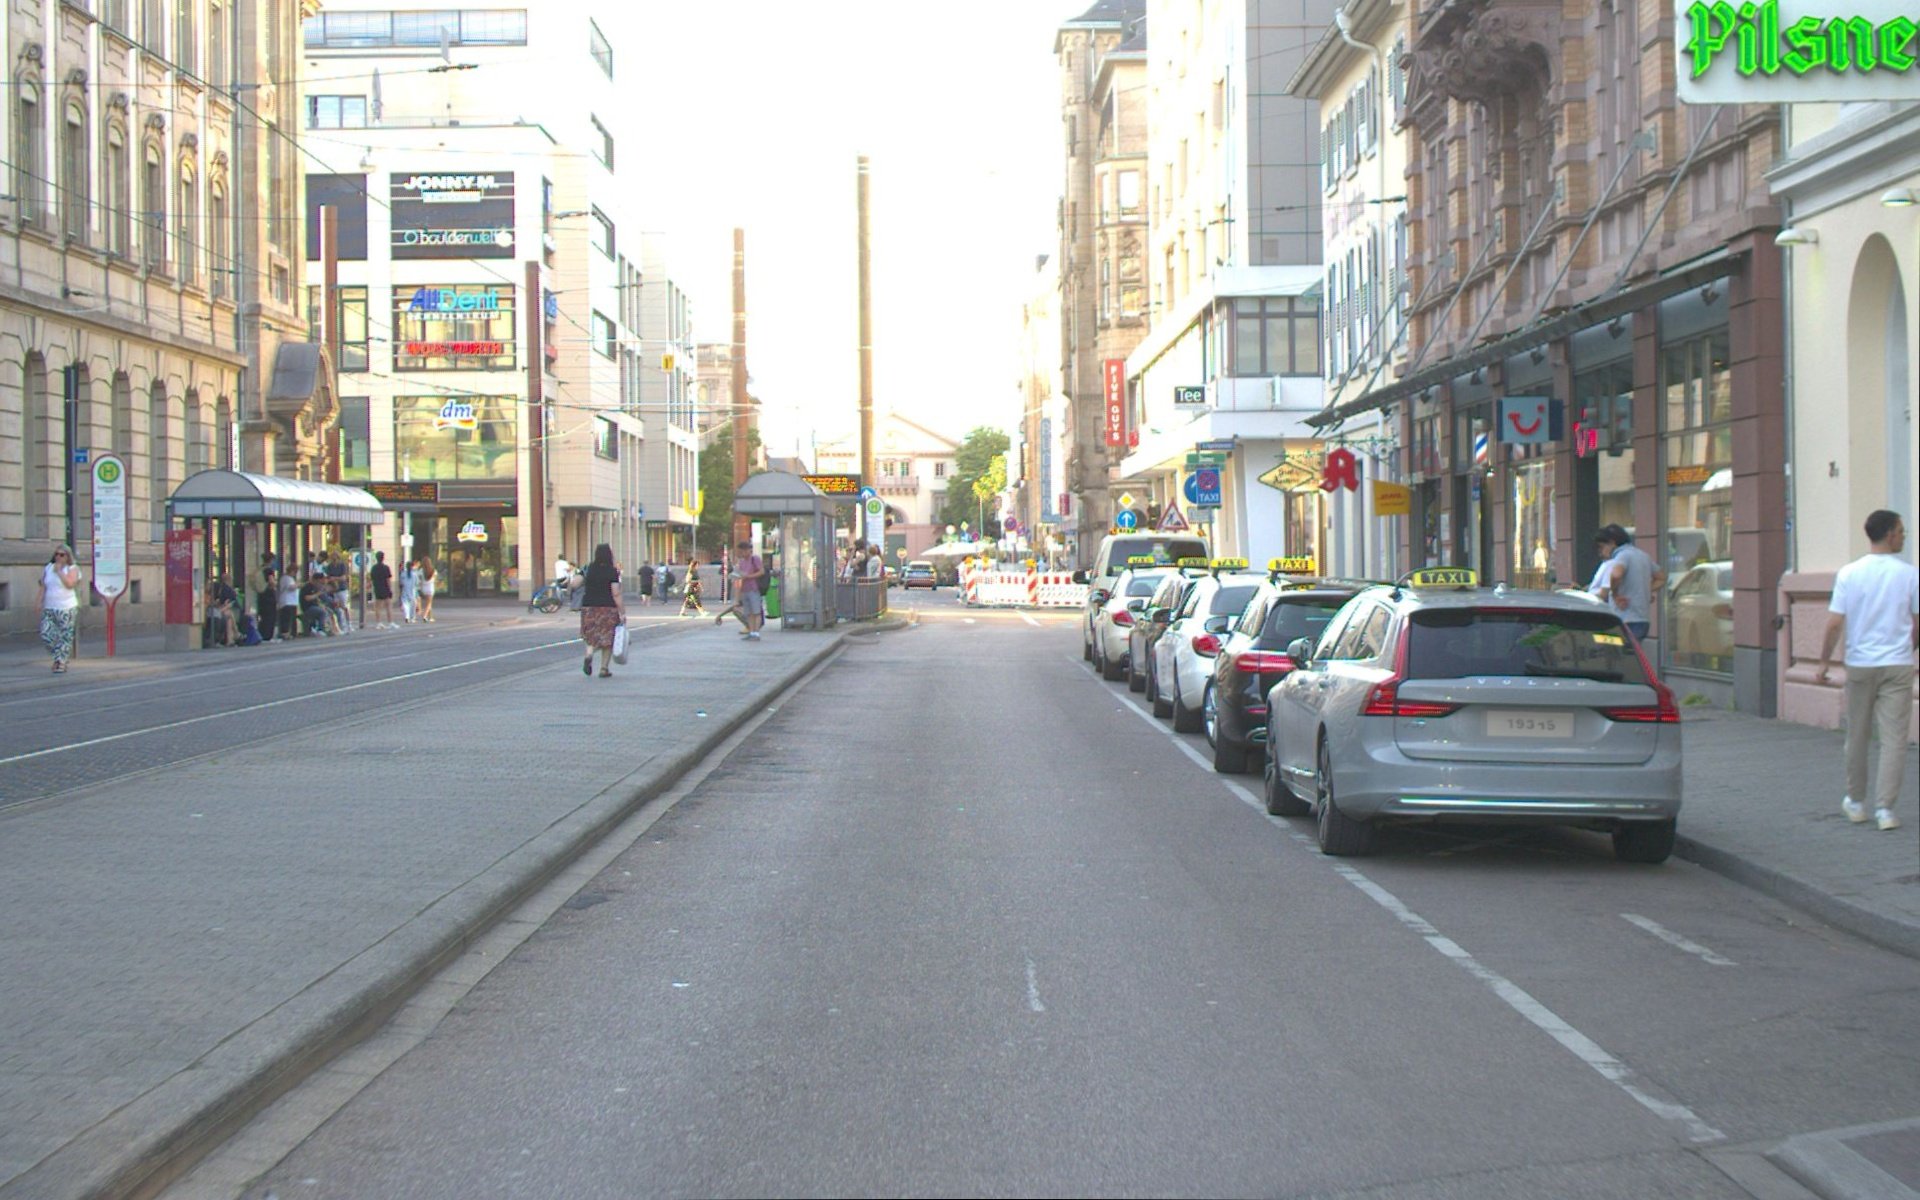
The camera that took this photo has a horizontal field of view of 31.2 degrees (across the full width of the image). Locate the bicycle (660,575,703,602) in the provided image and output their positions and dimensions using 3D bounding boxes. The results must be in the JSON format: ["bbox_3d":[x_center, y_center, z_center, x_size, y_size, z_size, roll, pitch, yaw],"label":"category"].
[{"bbox_3d":[-11.404,-0.472,140.908,1.696,1.118,0.451,1,0,2],"label":"bicycle"}]

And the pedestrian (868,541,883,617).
[{"bbox_3d":[-1.982,-0.493,80.605,0.341,1.789,0.544,1,0,-2],"label":"pedestrian"}]

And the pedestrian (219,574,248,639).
[{"bbox_3d":[-12.404,0.108,58.725,0.364,1.099,0.429,1,0,6],"label":"pedestrian"}]

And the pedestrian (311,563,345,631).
[{"bbox_3d":[-12.442,-0.052,67.657,0.518,1.323,0.638,0,0,3],"label":"pedestrian"}]

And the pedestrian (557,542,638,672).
[{"bbox_3d":[-4.191,0.075,39.831,0.846,1.496,0.901,0,0,-1],"label":"pedestrian"}]

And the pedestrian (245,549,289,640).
[{"bbox_3d":[-12.632,-0.099,62.642,0.518,1.645,0.637,0,0,22],"label":"pedestrian"}]

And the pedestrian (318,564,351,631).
[{"bbox_3d":[-12.449,-0.054,68.425,0.518,1.323,0.638,0,0,3],"label":"pedestrian"}]

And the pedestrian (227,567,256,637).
[{"bbox_3d":[-12.453,0.036,59.571,0.364,1.196,0.429,1,0,6],"label":"pedestrian"}]

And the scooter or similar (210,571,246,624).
[{"bbox_3d":[-16.468,-0.055,77.361,0.487,1.178,1.293,1,0,2],"label":"scooter or similar"}]

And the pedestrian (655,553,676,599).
[{"bbox_3d":[-11.139,-0.909,130.093,0.782,1.745,0.600,1,0,-3],"label":"pedestrian"}]

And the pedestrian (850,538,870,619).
[{"bbox_3d":[-2.179,-0.467,74.773,0.412,1.761,0.594,1,0,-2],"label":"pedestrian"}]

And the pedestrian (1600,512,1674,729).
[{"bbox_3d":[5.613,0.165,28.513,0.372,1.762,0.663,-2,0,-4],"label":"pedestrian"}]

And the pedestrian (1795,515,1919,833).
[{"bbox_3d":[5.021,0.400,18.866,0.620,1.683,0.485,-5,1,29],"label":"pedestrian"}]

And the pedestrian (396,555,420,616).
[{"bbox_3d":[-13.751,-0.365,85.690,0.518,1.520,0.501,0,0,-17],"label":"pedestrian"}]

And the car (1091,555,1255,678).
[{"bbox_3d":[2.798,0.179,46.095,1.806,1.478,4.778,2,1,-1],"label":"car"}]

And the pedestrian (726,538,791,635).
[{"bbox_3d":[-3.410,-0.227,58.236,0.687,1.632,0.859,0,1,40],"label":"pedestrian"}]

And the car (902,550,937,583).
[{"bbox_3d":[-2.361,-1.940,200.403,1.993,1.897,4.000,1,0,-1],"label":"car"}]

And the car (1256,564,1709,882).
[{"bbox_3d":[2.840,0.597,19.697,1.806,1.470,4.694,1,2,-1],"label":"car"}]

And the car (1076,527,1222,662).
[{"bbox_3d":[2.863,-0.089,52.851,1.876,1.917,4.700,2,0,-1],"label":"car"}]

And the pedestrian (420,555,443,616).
[{"bbox_3d":[-13.213,-0.375,85.885,0.525,1.520,0.503,0,0,-14],"label":"pedestrian"}]

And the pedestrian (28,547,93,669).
[{"bbox_3d":[-11.536,0.098,44.104,0.659,1.556,0.680,0,0,-1],"label":"pedestrian"}]

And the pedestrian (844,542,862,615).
[{"bbox_3d":[-2.424,-0.491,77.785,0.385,1.636,0.549,1,0,-2],"label":"pedestrian"}]

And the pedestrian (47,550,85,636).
[{"bbox_3d":[-16.229,-0.130,62.445,0.659,1.556,0.680,0,0,-14],"label":"pedestrian"}]

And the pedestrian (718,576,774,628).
[{"bbox_3d":[-3.939,0.030,63.281,0.799,0.936,0.692,0,1,23],"label":"pedestrian"}]

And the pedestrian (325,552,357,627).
[{"bbox_3d":[-13.024,-0.214,72.357,0.518,1.564,0.638,0,0,3],"label":"pedestrian"}]

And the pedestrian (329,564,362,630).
[{"bbox_3d":[-12.381,-0.055,69.295,0.518,1.323,0.638,0,0,3],"label":"pedestrian"}]

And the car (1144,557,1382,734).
[{"bbox_3d":[2.798,0.395,32.689,1.732,1.506,4.865,2,0,-1],"label":"car"}]

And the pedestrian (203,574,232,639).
[{"bbox_3d":[-12.557,0.107,58.140,0.364,1.099,0.429,1,0,6],"label":"pedestrian"}]

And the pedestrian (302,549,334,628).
[{"bbox_3d":[-13.367,-0.233,71.591,0.518,1.640,0.638,0,0,3],"label":"pedestrian"}]

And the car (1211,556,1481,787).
[{"bbox_3d":[2.898,0.502,26.598,1.733,1.585,4.441,2,0,3],"label":"car"}]

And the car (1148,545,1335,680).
[{"bbox_3d":[3.248,0.132,40.418,1.726,1.472,4.820,1,0,-1],"label":"car"}]

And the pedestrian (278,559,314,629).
[{"bbox_3d":[-12.567,-0.109,65.046,0.518,1.323,0.638,0,0,3],"label":"pedestrian"}]

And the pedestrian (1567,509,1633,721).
[{"bbox_3d":[5.406,0.123,29.039,0.372,1.762,0.456,-2,0,-4],"label":"pedestrian"}]

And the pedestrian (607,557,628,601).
[{"bbox_3d":[-13.062,-0.787,131.160,0.649,1.668,0.530,-1,0,8],"label":"pedestrian"}]

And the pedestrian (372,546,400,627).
[{"bbox_3d":[-12.578,-0.302,75.383,0.559,1.770,0.469,0,0,-4],"label":"pedestrian"}]
